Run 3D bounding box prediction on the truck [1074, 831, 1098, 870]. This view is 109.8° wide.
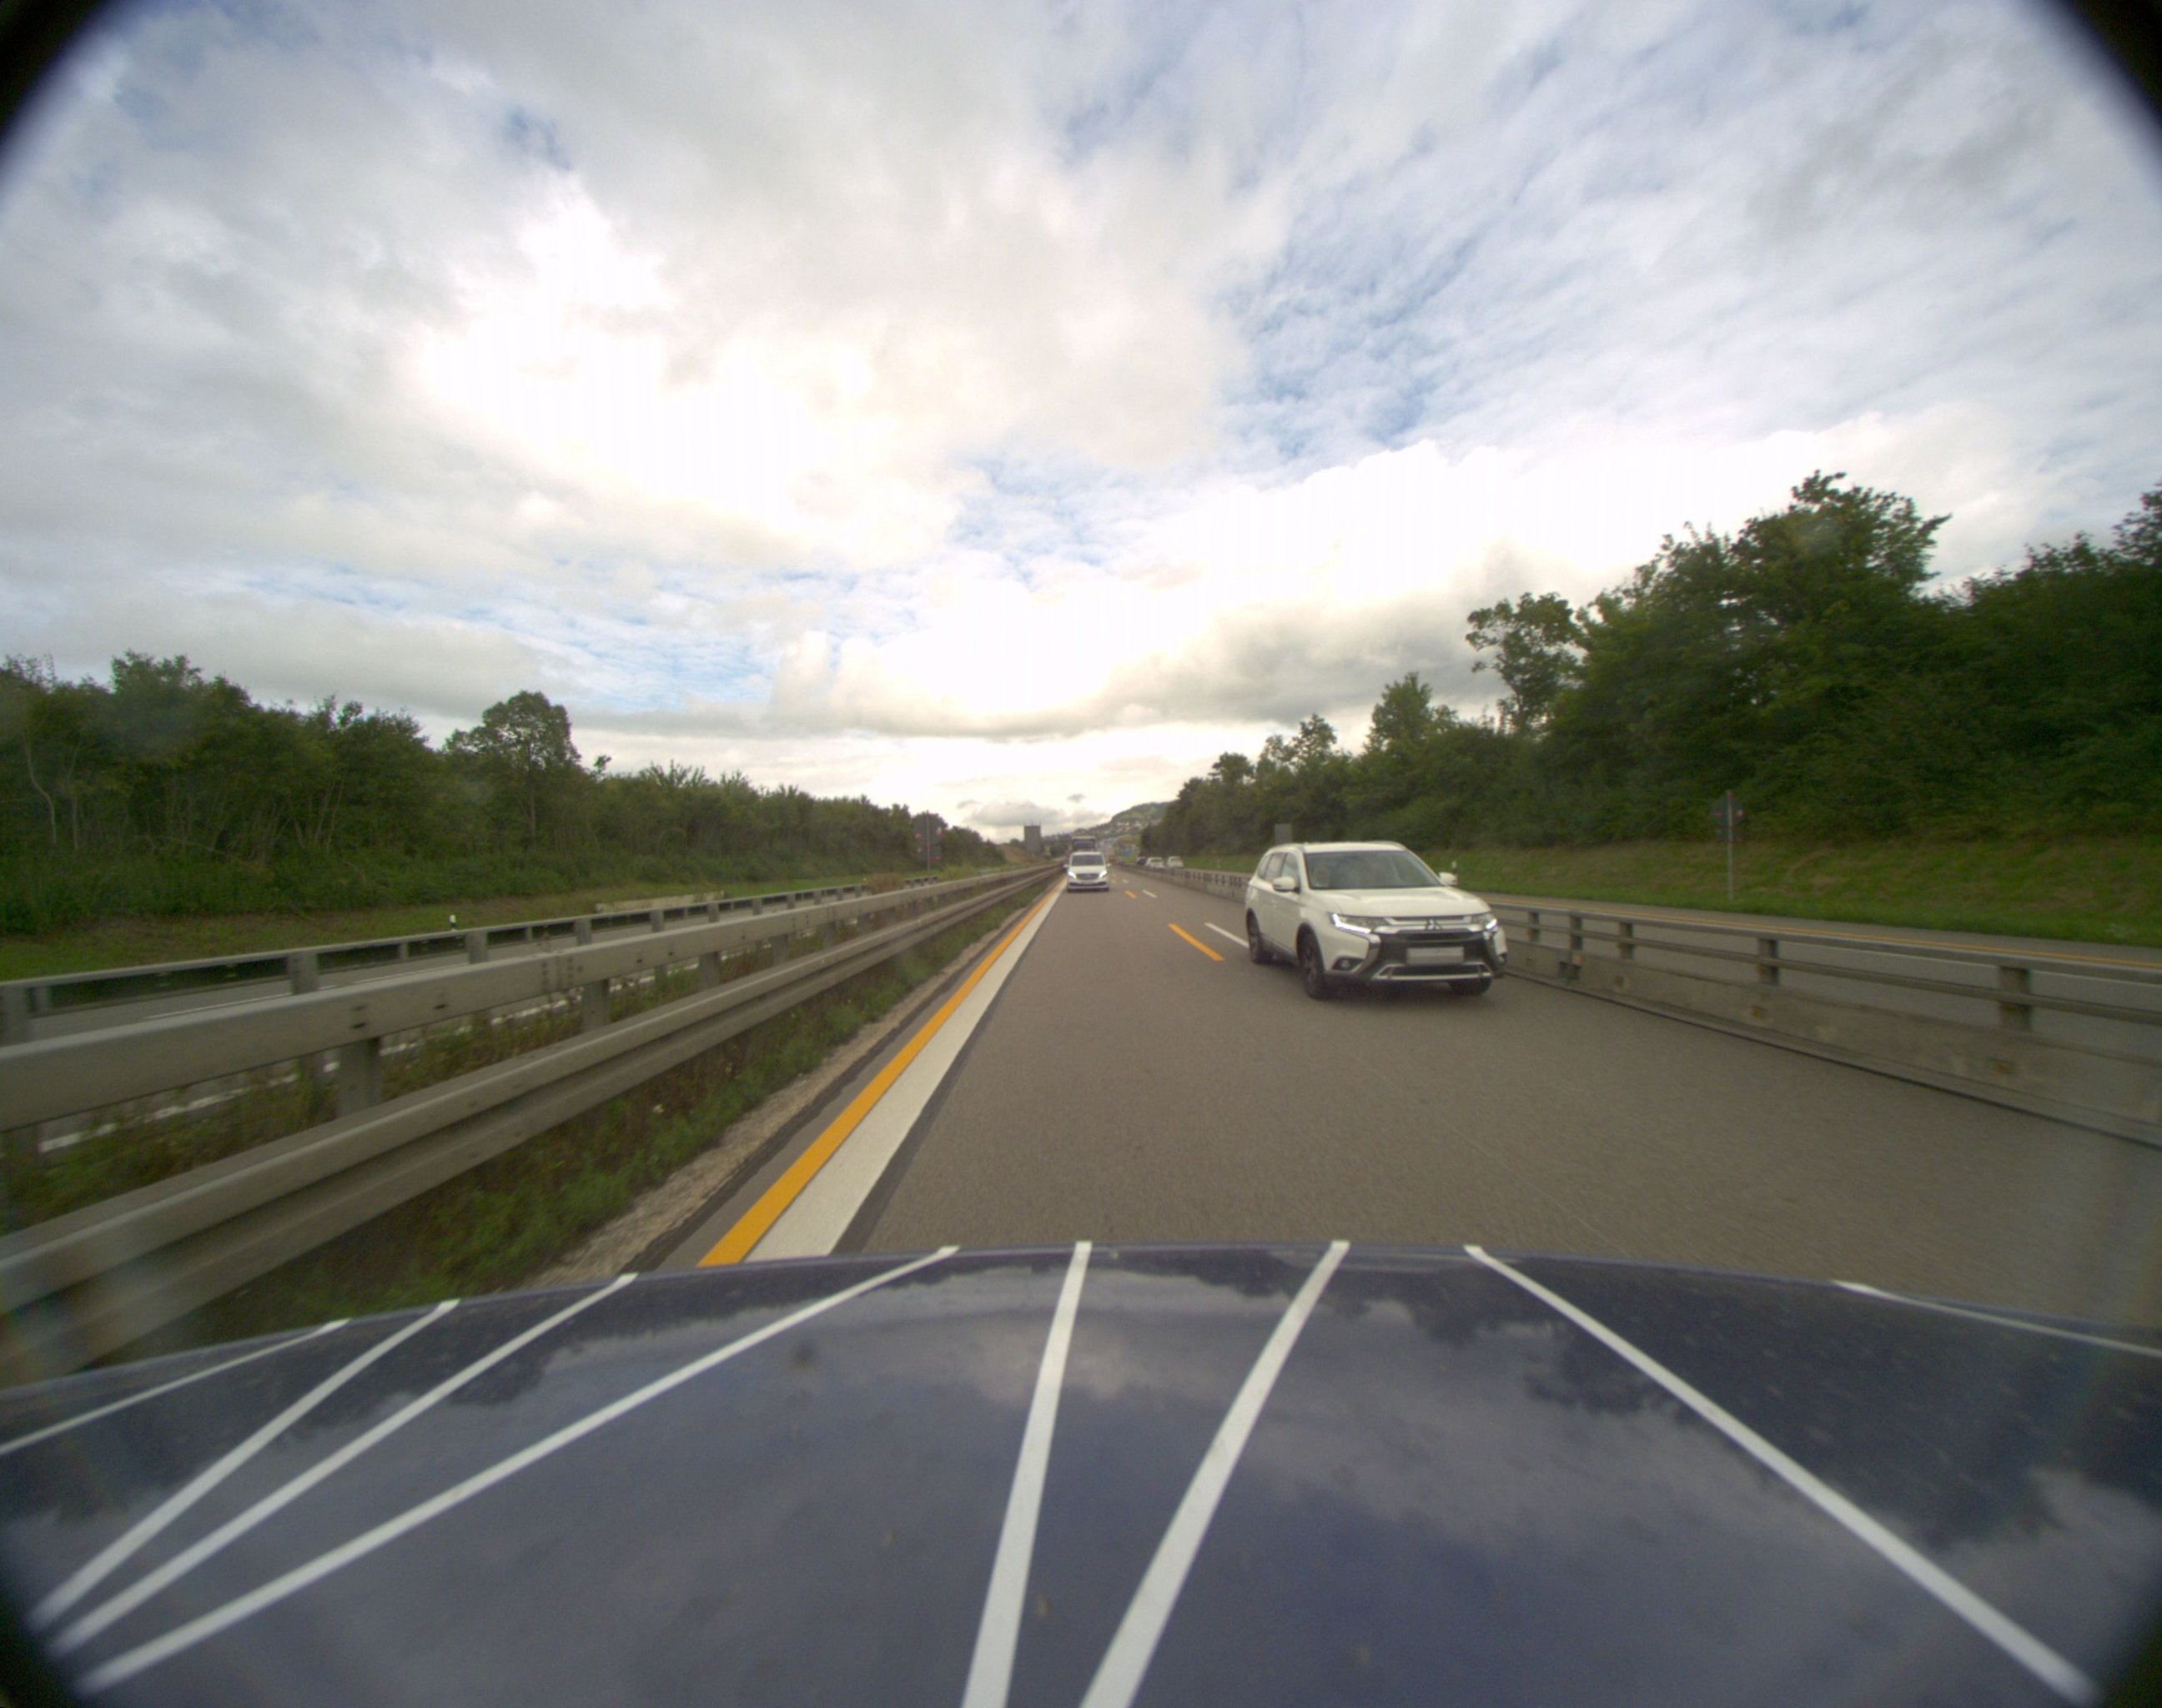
[{"bbox_3d":[0.579,-0.387,85.499,2.521,4.081,5.685,-2,1,1],"label":"truck"}]

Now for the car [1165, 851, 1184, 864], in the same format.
[{"bbox_3d":[11.073,0.392,89.981,1.699,1.445,3.958,-3,0,0],"label":"car"}]

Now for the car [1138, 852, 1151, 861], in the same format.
[{"bbox_3d":[11.135,0.363,133.283,1.998,1.515,5.024,-2,0,1],"label":"car"}]

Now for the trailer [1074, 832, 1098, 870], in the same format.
[{"bbox_3d":[0.657,-0.379,90.750,2.521,4.081,11.112,-2,0,1],"label":"trailer"}]

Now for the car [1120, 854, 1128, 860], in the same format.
[{"bbox_3d":[11.687,0.703,206.500,1.685,1.541,3.949,-1,0,0],"label":"car"}]

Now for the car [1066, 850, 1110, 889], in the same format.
[{"bbox_3d":[0.360,0.732,38.207,1.991,1.787,4.585,-2,0,0],"label":"car"}]

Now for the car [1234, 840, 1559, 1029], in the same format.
[{"bbox_3d":[3.249,0.707,9.016,1.998,1.618,4.607,-2,0,1],"label":"car"}]

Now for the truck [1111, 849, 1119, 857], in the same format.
[{"bbox_3d":[11.683,-0.217,262.244,2.496,2.702,6.667,-2,0,1],"label":"truck"}]

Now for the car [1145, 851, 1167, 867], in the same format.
[{"bbox_3d":[7.526,0.481,76.851,1.699,1.445,4.551,-2,0,0],"label":"car"}]
